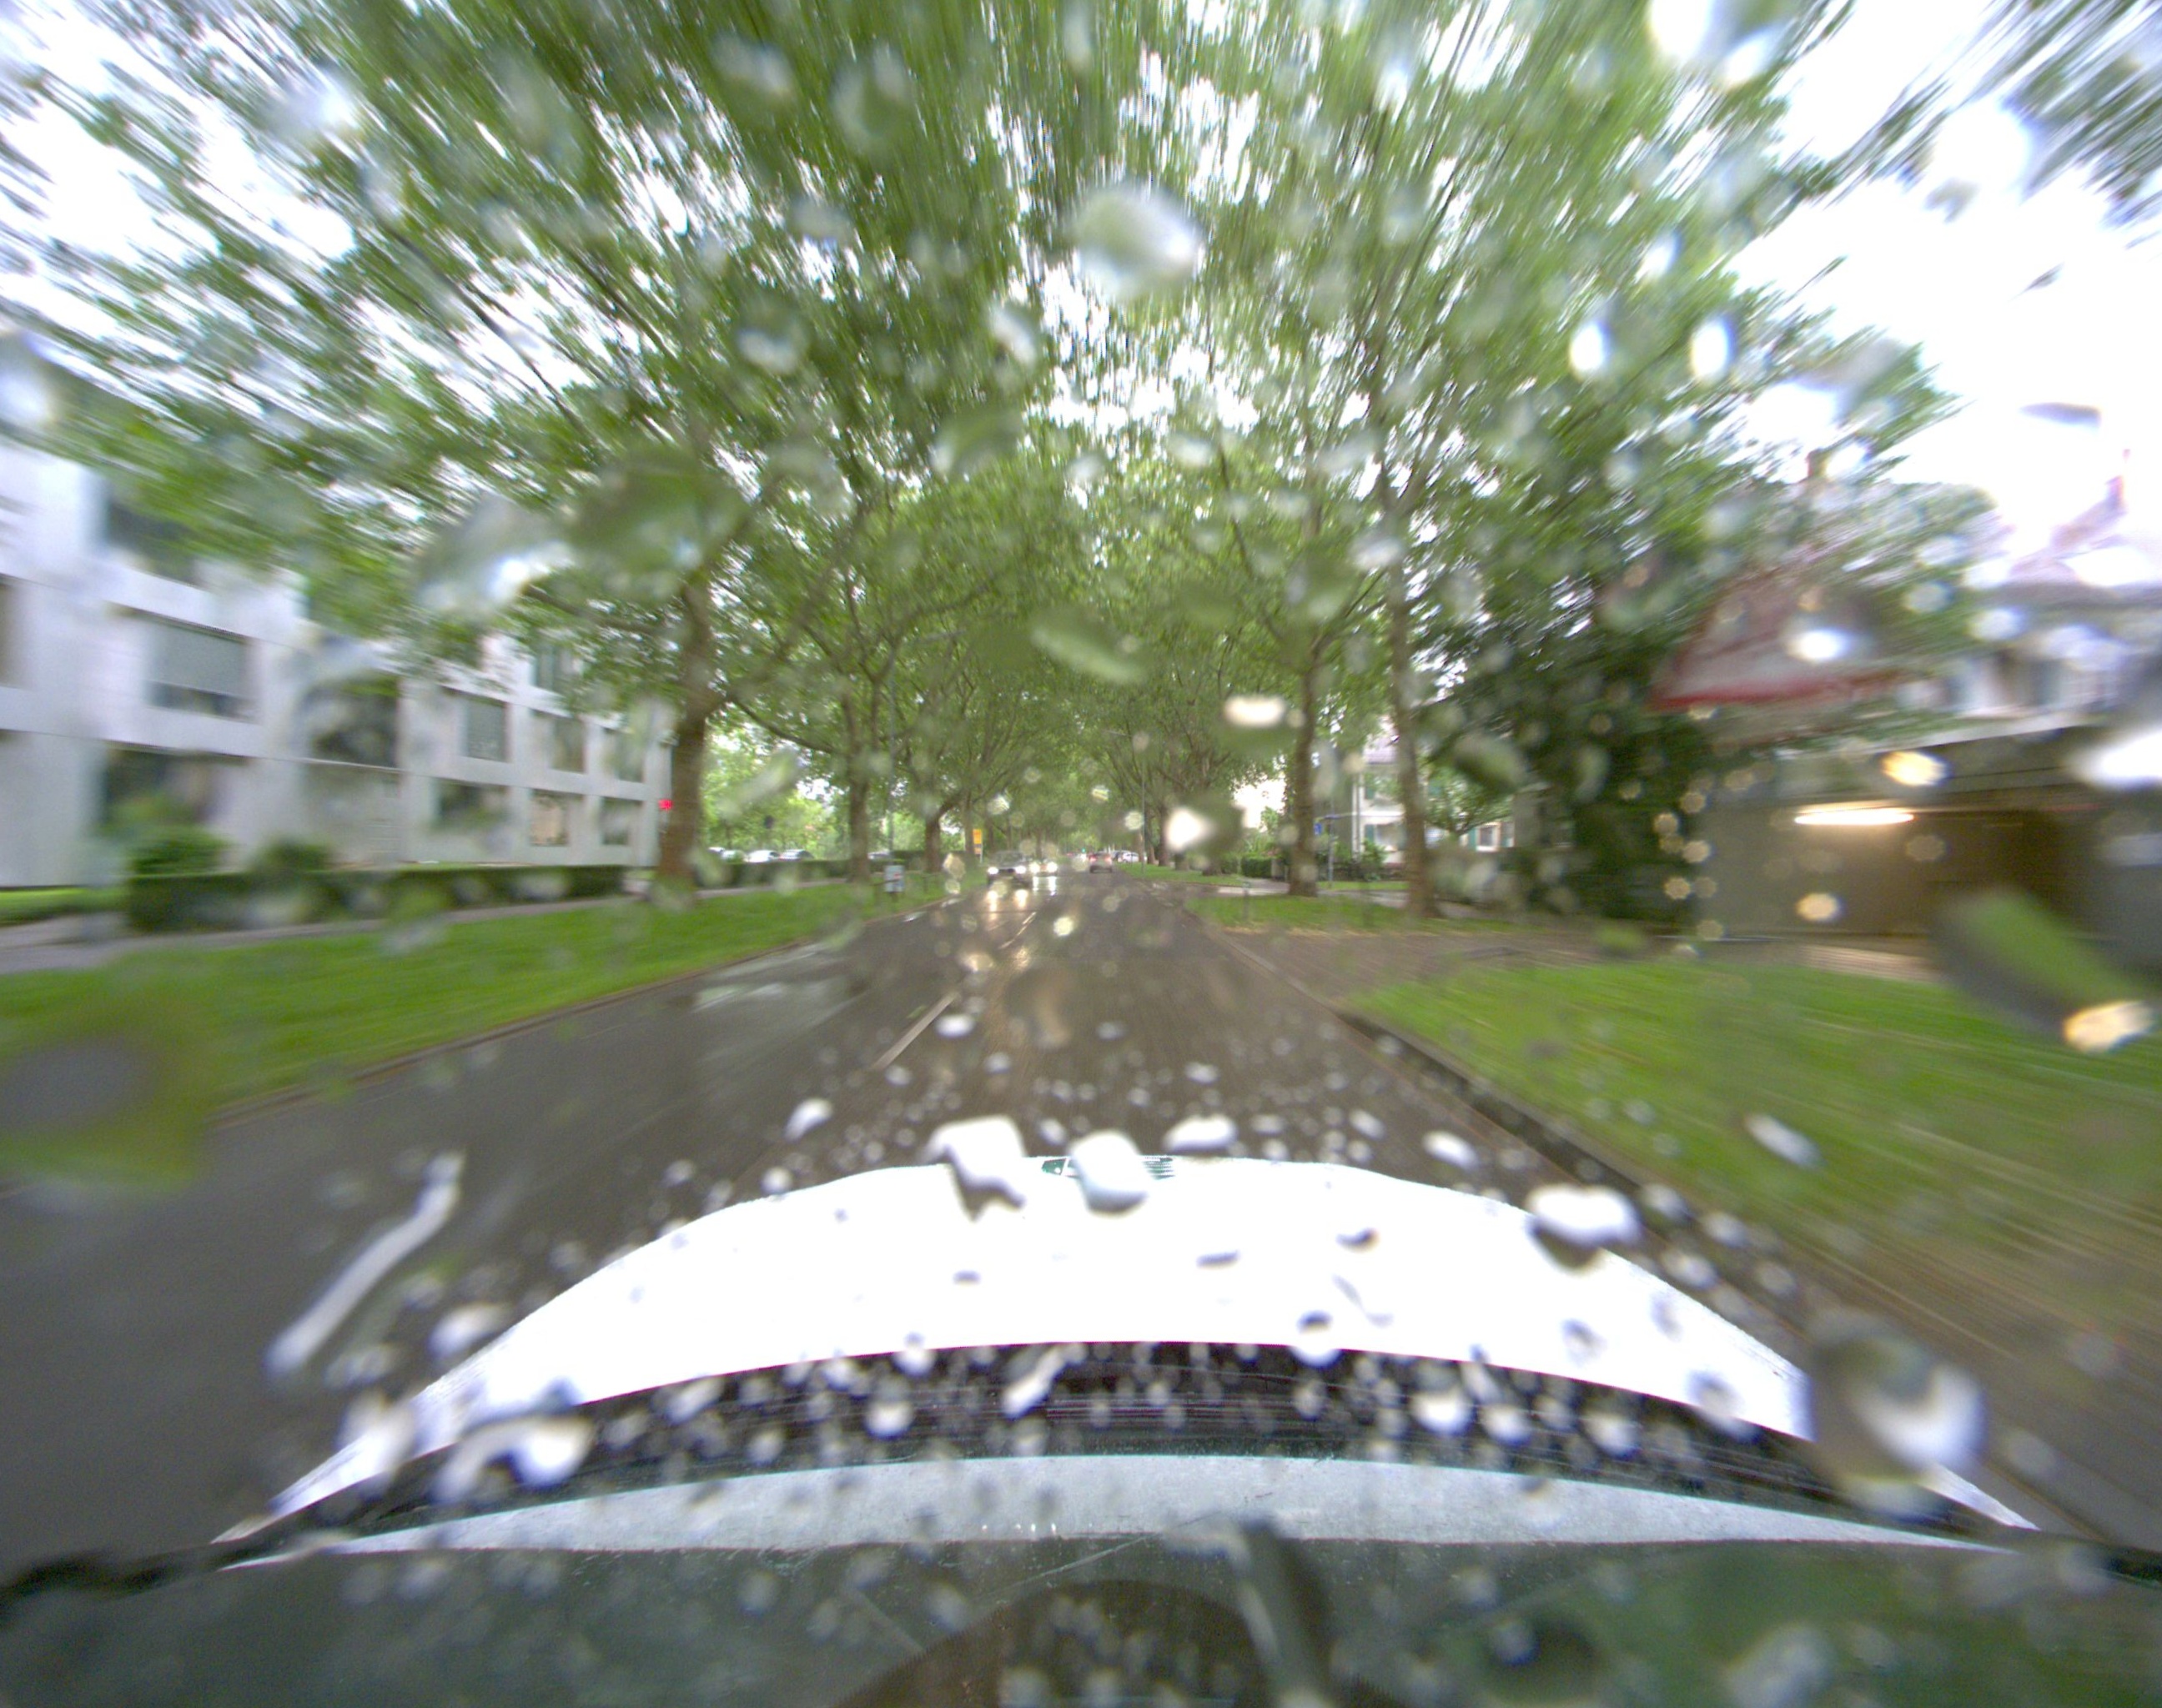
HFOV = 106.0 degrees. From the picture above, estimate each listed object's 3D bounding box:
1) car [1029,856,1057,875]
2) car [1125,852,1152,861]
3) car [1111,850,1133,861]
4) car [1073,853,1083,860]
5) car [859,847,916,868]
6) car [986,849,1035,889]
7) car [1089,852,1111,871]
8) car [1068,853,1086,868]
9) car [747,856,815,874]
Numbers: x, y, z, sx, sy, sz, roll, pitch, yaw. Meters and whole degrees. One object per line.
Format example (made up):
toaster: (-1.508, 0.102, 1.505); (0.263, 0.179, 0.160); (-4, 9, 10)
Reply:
car: (-2.646, 0.801, 57.838); (1.700, 1.250, 3.645); (-2, 0, 1)
car: (7.932, 0.310, 111.864); (3.537, 1.155, 1.710); (-2, 0, -2)
car: (7.027, 0.255, 139.748); (3.536, 1.841, 1.711); (-2, 0, -1)
car: (-0.620, 0.541, 159.039); (1.713, 1.255, 4.002); (1, 0, 2)
car: (-15.269, 0.297, 64.396); (3.972, 1.623, 2.001); (0, 0, 1)
car: (-3.221, 0.633, 37.772); (1.803, 1.684, 4.448); (-1, 0, 0)
car: (1.512, 0.597, 64.965); (1.700, 1.411, 3.645); (-2, 0, 1)
car: (-0.365, 0.677, 82.288); (1.700, 1.411, 3.645); (-2, 0, 1)
car: (-21.134, 0.778, 57.511); (3.973, 1.134, 2.000); (1, 0, 0)
